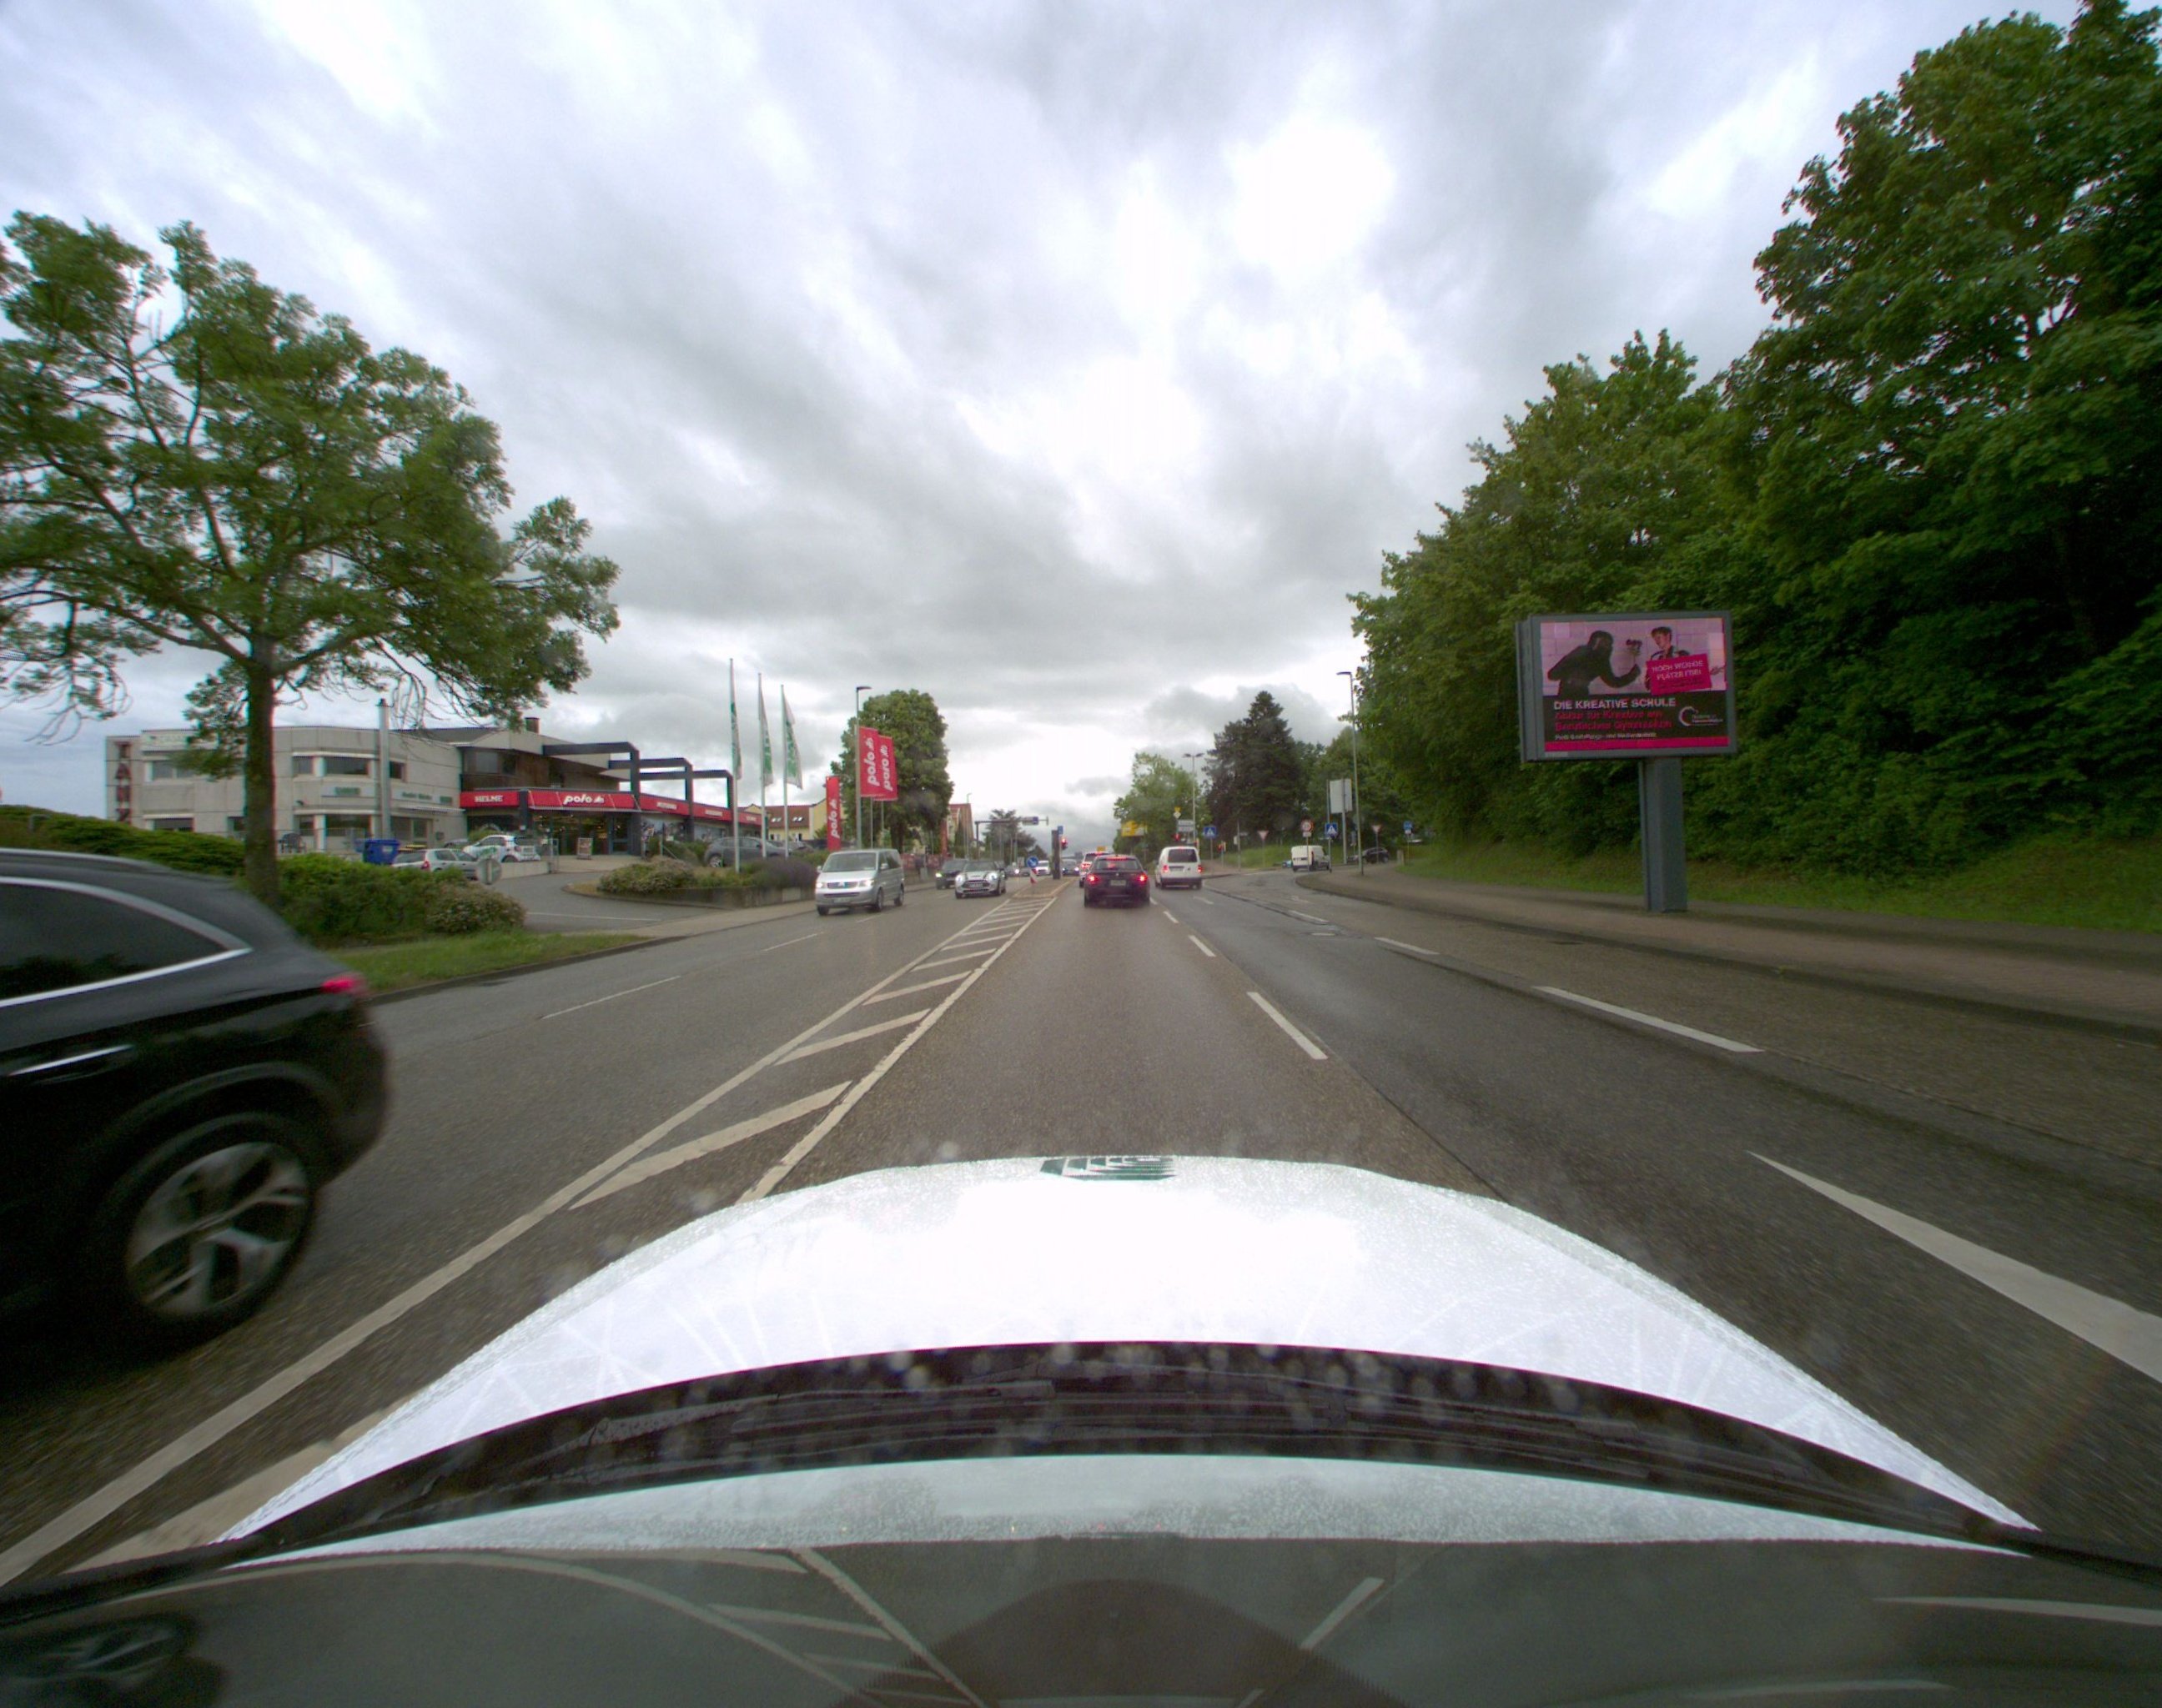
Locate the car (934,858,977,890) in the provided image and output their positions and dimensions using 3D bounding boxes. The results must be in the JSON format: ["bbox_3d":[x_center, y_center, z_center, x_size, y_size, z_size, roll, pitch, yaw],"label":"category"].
[{"bbox_3d":[-7.208,1.102,47.139,1.746,1.610,4.531,-4,0,-1],"label":"car"}]

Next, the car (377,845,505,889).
[{"bbox_3d":[-24.708,0.453,31.649,1.668,1.512,4.004,-3,0,2],"label":"car"}]

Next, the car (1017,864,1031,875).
[{"bbox_3d":[-8.193,2.188,117.238,1.662,1.382,4.072,-2,0,1],"label":"car"}]

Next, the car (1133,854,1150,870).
[{"bbox_3d":[5.968,0.752,80.631,1.594,1.371,3.683,-3,1,3],"label":"car"}]

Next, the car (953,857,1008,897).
[{"bbox_3d":[-3.884,0.858,32.153,1.662,1.398,3.998,-3,0,-1],"label":"car"}]

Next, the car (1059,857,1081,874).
[{"bbox_3d":[-1.011,1.022,73.639,1.890,1.456,4.094,-2,-1,-2],"label":"car"}]

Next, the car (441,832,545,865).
[{"bbox_3d":[-30.293,-0.284,42.024,3.972,1.512,1.876,-2,0,3],"label":"car"}]

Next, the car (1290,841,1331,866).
[{"bbox_3d":[16.908,-0.053,59.811,1.797,1.708,3.971,-1,1,32],"label":"car"}]

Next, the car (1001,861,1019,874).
[{"bbox_3d":[-8.028,1.517,92.892,1.629,1.381,3.764,-4,0,0],"label":"car"}]

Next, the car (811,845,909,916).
[{"bbox_3d":[-6.929,0.756,26.092,1.791,1.982,4.896,-3,0,-1],"label":"car"}]

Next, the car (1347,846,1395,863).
[{"bbox_3d":[27.953,0.012,78.564,4.342,1.467,1.883,-2,0,-28],"label":"car"}]

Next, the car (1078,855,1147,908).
[{"bbox_3d":[0.978,0.738,23.892,1.847,1.419,3.961,-1,0,4],"label":"car"}]

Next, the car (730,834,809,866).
[{"bbox_3d":[-15.992,-0.203,41.899,3.404,1.509,1.582,-2,0,0],"label":"car"}]

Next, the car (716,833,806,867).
[{"bbox_3d":[-15.489,-0.194,39.536,3.642,1.482,1.738,-2,0,-6],"label":"car"}]

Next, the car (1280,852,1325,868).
[{"bbox_3d":[21.553,0.562,79.281,3.997,1.294,1.600,-3,1,-17],"label":"car"}]

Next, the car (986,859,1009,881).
[{"bbox_3d":[-7.018,1.314,68.664,1.753,1.677,4.142,-3,0,-4],"label":"car"}]

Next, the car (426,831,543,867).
[{"bbox_3d":[-27.069,-0.227,37.071,3.819,1.482,1.872,-2,0,-4],"label":"car"}]

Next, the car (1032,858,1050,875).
[{"bbox_3d":[-4.787,1.485,97.199,1.852,1.823,4.578,-4,-1,0],"label":"car"}]

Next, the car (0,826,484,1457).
[{"bbox_3d":[-3.708,0.783,1.562,1.816,1.607,4.285,-3,0,1],"label":"car"}]

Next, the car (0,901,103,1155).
[{"bbox_3d":[-7.064,1.064,2.908,1.786,1.401,4.302,-3,1,2],"label":"car"}]

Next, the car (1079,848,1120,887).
[{"bbox_3d":[0.913,0.592,38.525,1.720,1.711,3.387,-1,1,4],"label":"car"}]

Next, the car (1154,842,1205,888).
[{"bbox_3d":[4.226,0.457,35.544,1.736,1.869,3.945,-1,0,0],"label":"car"}]

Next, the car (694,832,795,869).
[{"bbox_3d":[-15.109,-0.172,36.733,3.822,1.482,1.738,-2,0,-6],"label":"car"}]
